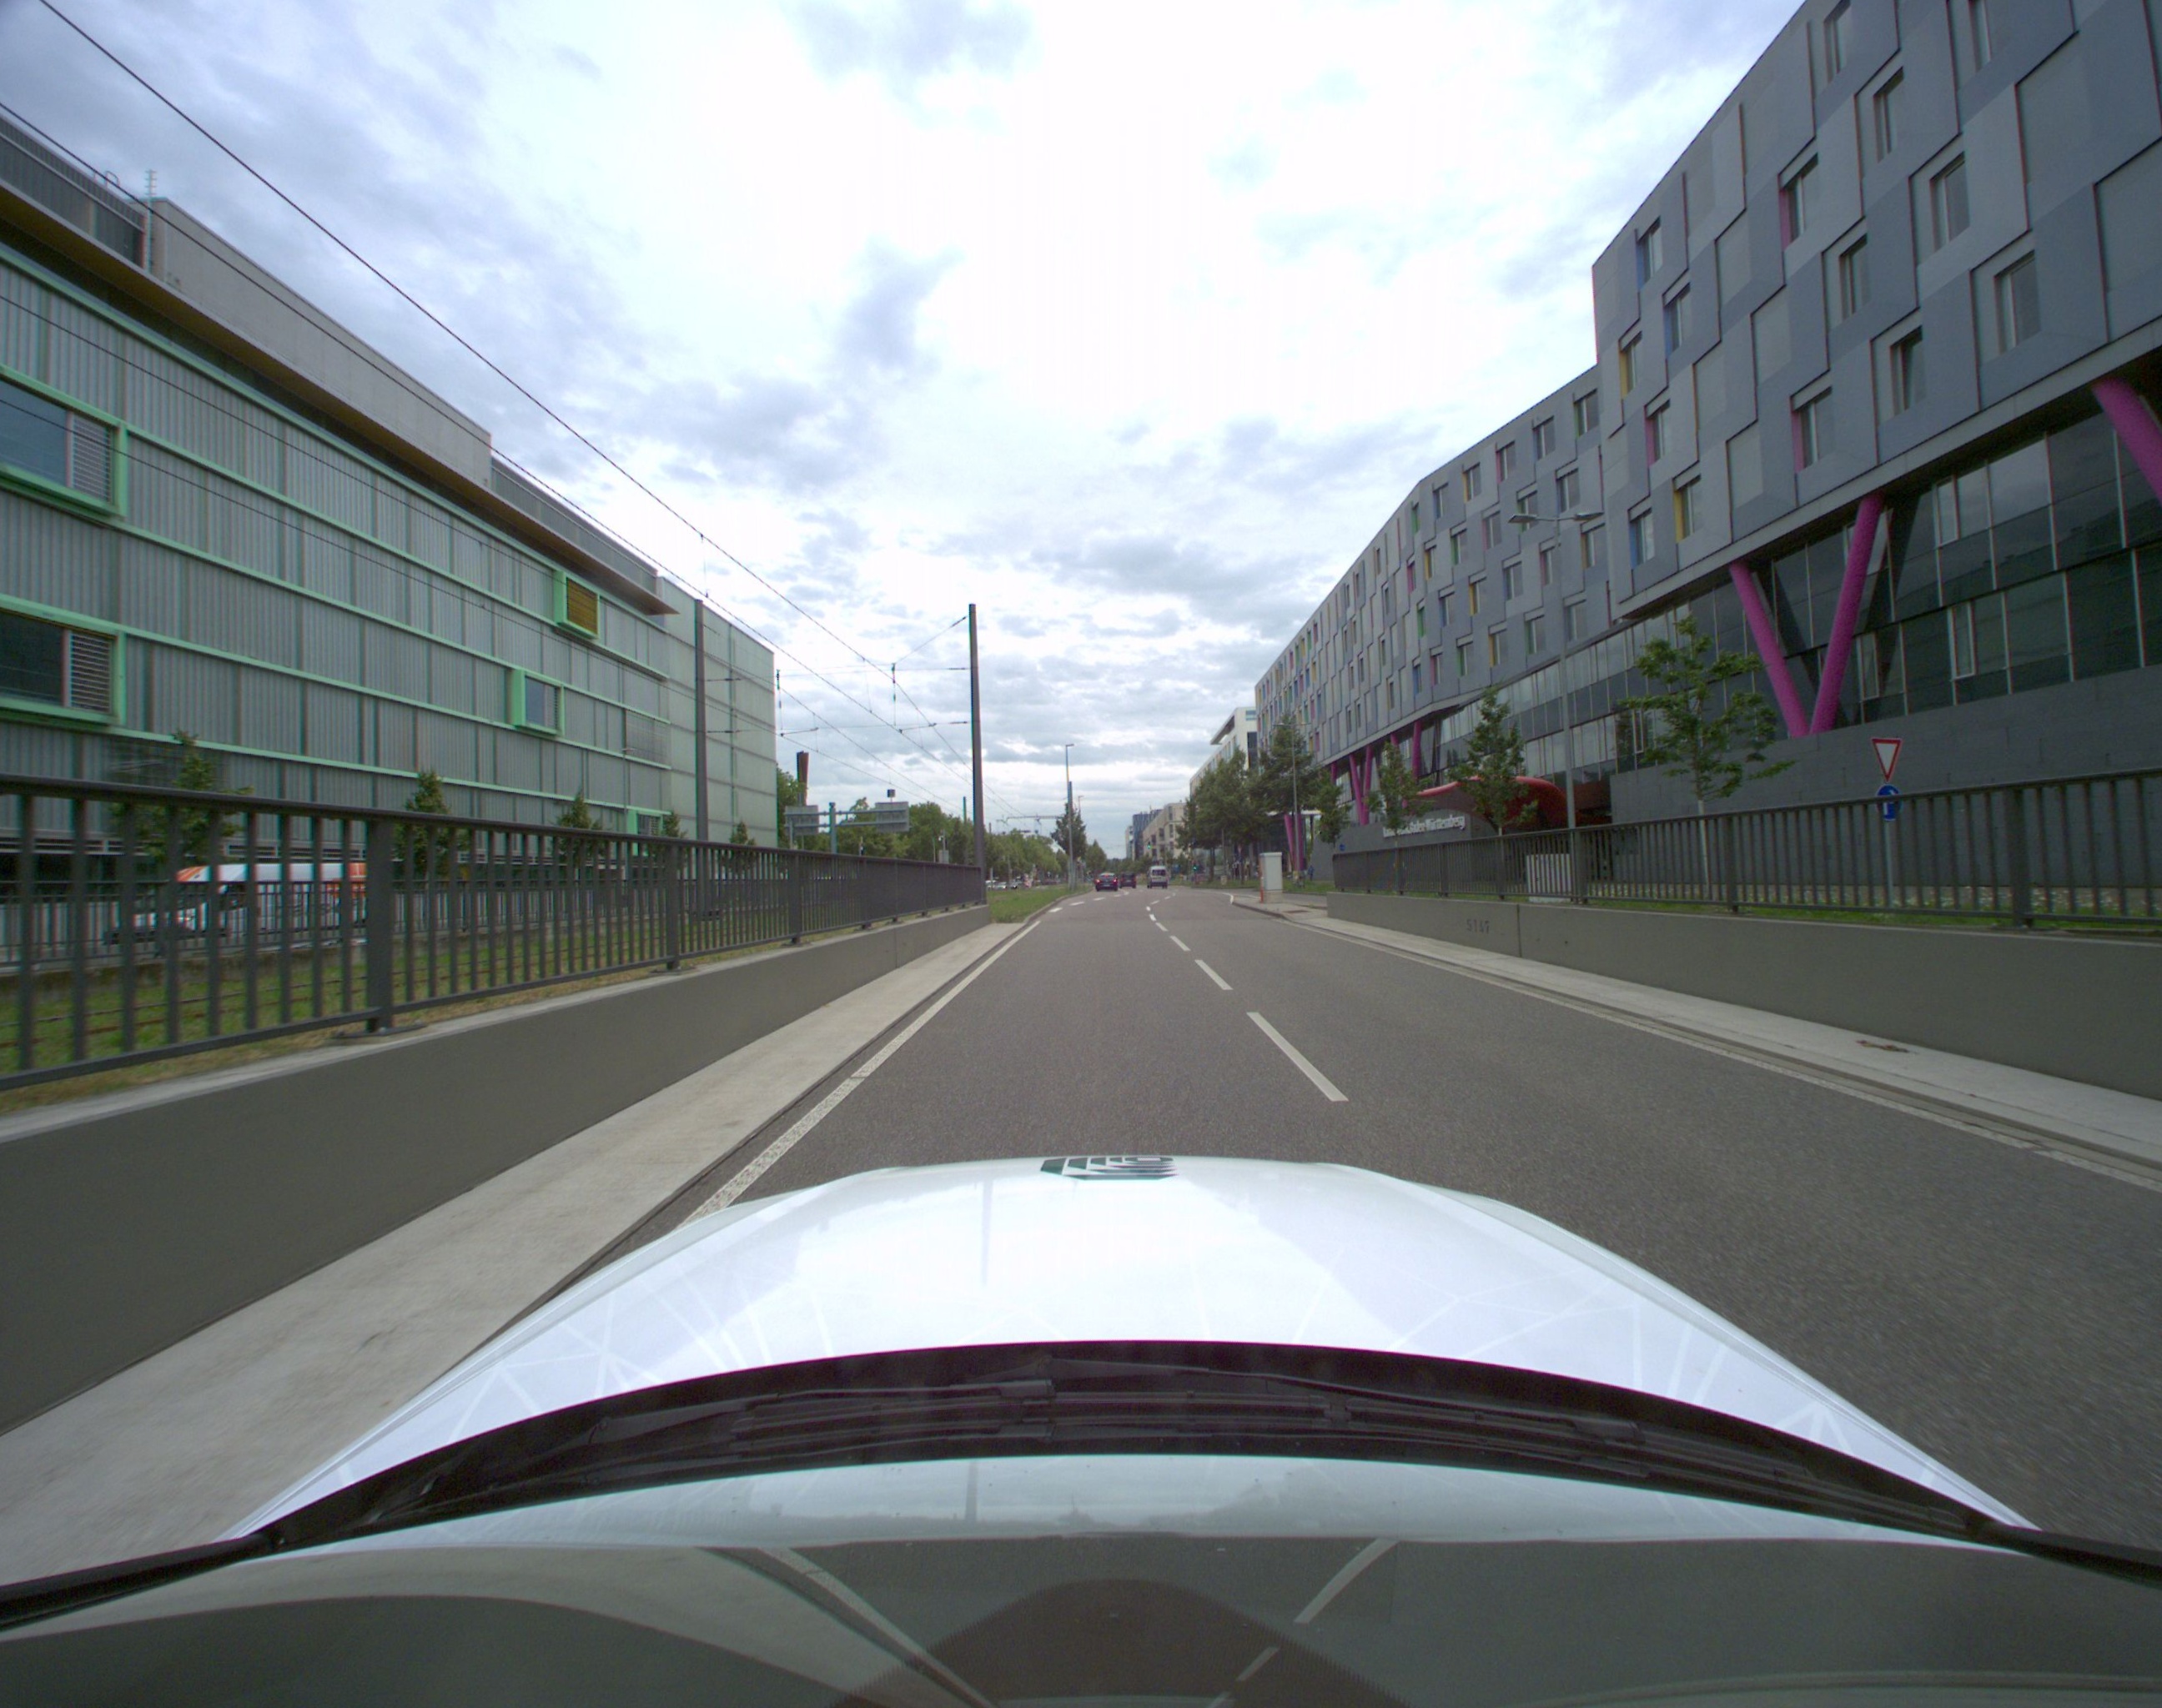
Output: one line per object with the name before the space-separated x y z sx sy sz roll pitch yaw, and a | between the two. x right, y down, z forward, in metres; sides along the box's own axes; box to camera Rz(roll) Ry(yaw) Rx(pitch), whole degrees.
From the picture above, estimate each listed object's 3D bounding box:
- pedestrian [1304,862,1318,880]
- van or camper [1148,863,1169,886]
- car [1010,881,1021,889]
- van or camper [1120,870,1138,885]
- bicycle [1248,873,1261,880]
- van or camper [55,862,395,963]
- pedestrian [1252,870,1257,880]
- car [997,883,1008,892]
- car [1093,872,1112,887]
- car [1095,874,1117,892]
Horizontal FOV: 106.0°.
pedestrian | 23.073 1.724 81.650 1.047 1.770 1.137 -2 -2 2
van or camper | 8.749 2.293 92.090 2.101 2.356 4.925 -1 0 2
car | -14.123 6.686 175.780 1.957 1.588 4.689 -1 -2 1
van or camper | 5.570 2.773 95.469 1.986 1.615 4.791 -2 -1 2
bicycle | 27.622 3.625 129.613 1.784 1.086 0.618 -2 -2 3
van or camper | -22.577 1.426 22.125 2.164 2.287 6.509 -1 -1 2
pedestrian | 27.609 3.360 129.624 0.612 1.604 0.619 -2 -2 4
car | -14.739 6.249 152.466 1.724 1.445 4.916 -4 -1 -3
car | 2.540 2.954 94.246 1.985 1.682 4.004 -1 -2 4
car | 2.101 2.462 69.376 1.737 1.417 4.000 -1 -2 1
